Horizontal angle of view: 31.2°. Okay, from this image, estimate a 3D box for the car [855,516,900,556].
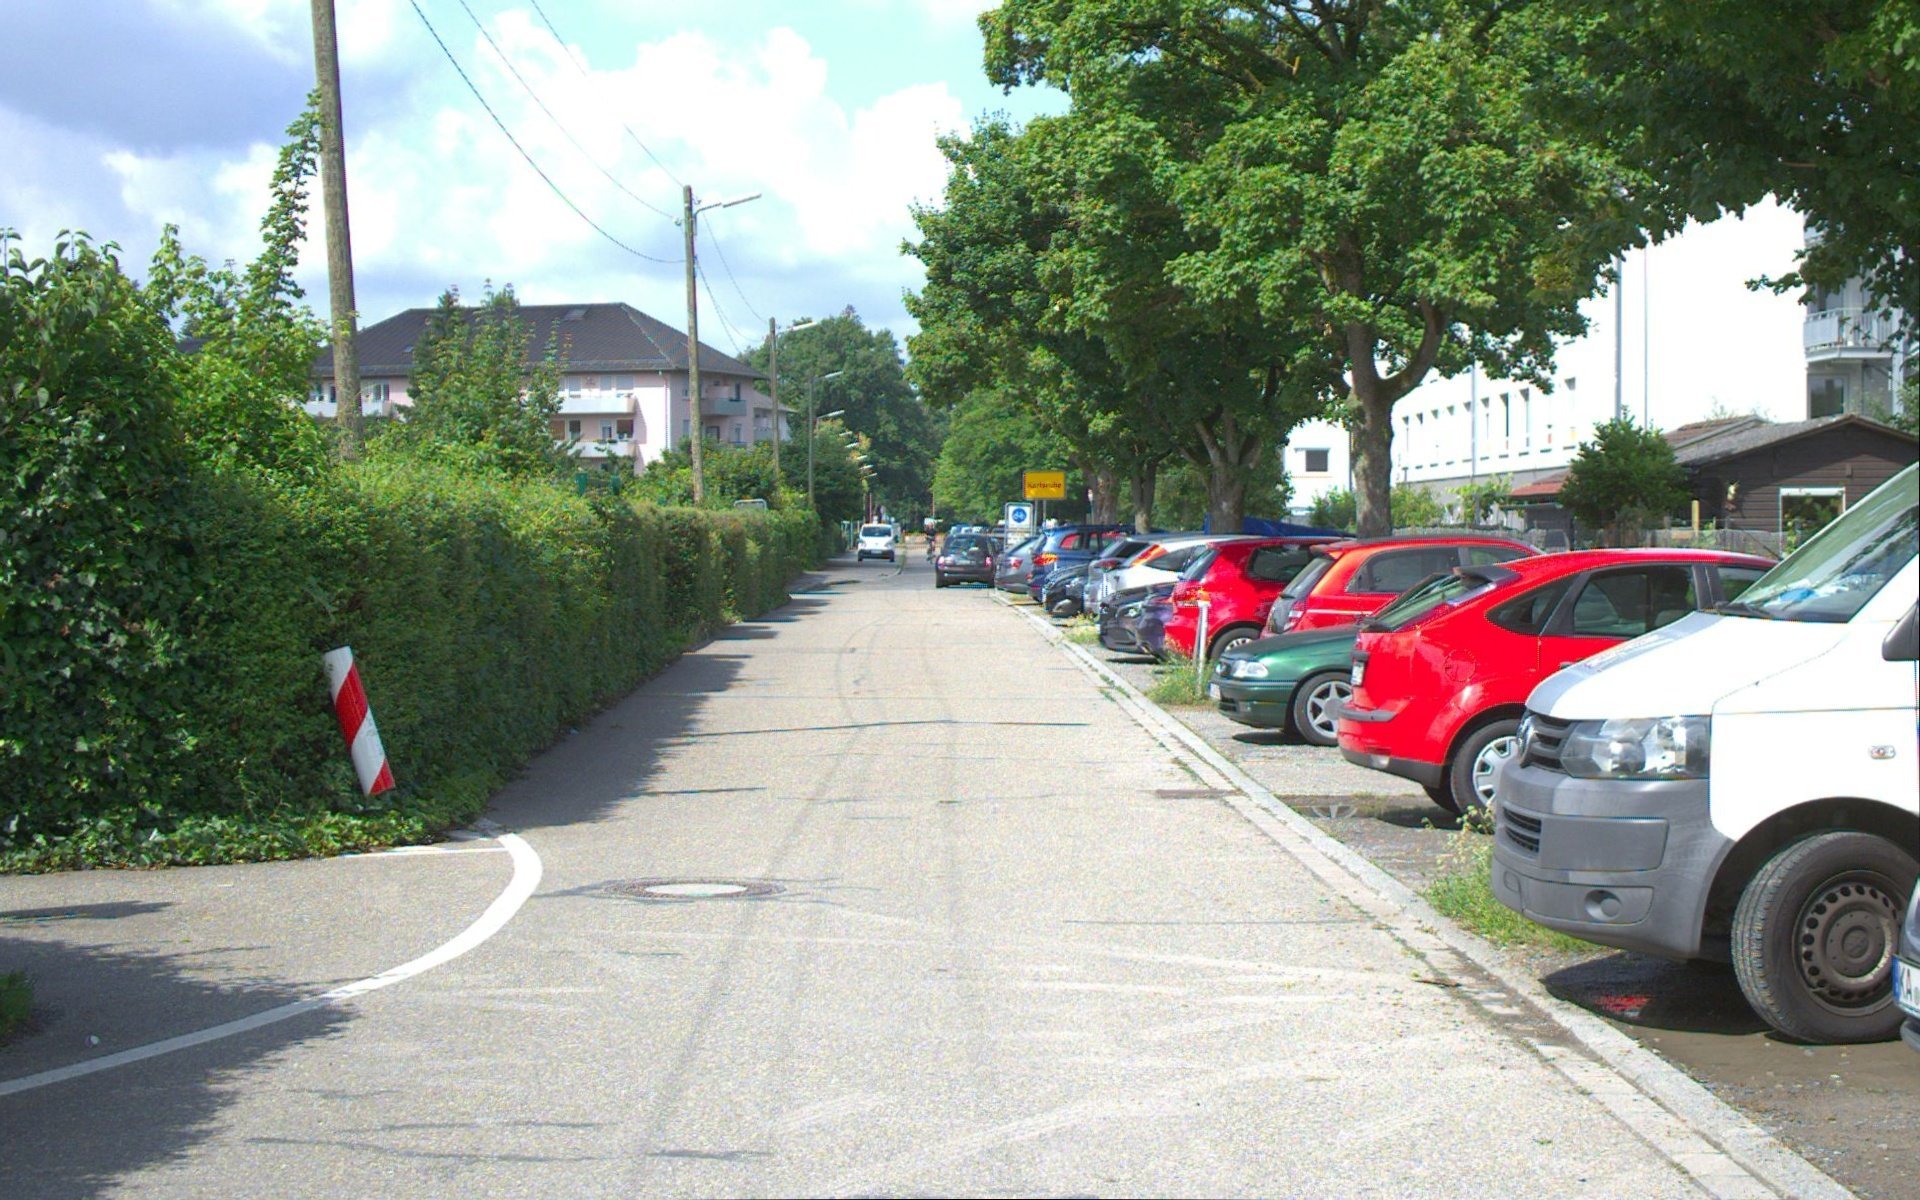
[{"bbox_3d":[-3.930,-3.044,164.008,1.903,1.808,4.000,1,1,2],"label":"car"}]

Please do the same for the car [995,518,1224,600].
[{"bbox_3d":[3.036,-0.848,70.659,4.548,1.573,1.809,1,1,-2],"label":"car"}]

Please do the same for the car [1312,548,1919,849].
[{"bbox_3d":[4.127,0.512,18.819,4.183,1.499,1.878,1,1,1],"label":"car"}]

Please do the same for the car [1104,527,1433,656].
[{"bbox_3d":[3.884,-0.120,43.849,4.065,1.506,1.958,1,1,2],"label":"car"}]

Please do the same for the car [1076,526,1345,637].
[{"bbox_3d":[3.674,-0.288,50.929,3.723,1.534,1.850,1,1,-4],"label":"car"}]

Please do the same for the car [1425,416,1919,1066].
[{"bbox_3d":[4.010,0.353,11.164,4.634,1.880,2.112,-1,1,-2],"label":"car"}]

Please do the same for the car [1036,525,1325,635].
[{"bbox_3d":[3.385,-0.324,53.511,4.302,1.588,2.000,1,1,-1],"label":"car"}]

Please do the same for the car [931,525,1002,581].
[{"bbox_3d":[0.201,-1.306,95.437,1.663,1.501,4.000,1,1,4],"label":"car"}]

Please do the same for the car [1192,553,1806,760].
[{"bbox_3d":[4.014,0.405,26.041,4.238,1.423,1.909,1,1,-4],"label":"car"}]

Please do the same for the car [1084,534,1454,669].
[{"bbox_3d":[3.573,0.002,40.243,4.065,1.450,1.870,1,1,-3],"label":"car"}]

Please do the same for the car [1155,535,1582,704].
[{"bbox_3d":[3.924,0.169,33.564,3.987,1.514,1.854,1,1,3],"label":"car"}]

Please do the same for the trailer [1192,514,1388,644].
[{"bbox_3d":[4.592,-0.305,48.045,2.449,1.714,1.518,1,2,-4],"label":"trailer"}]

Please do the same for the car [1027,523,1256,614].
[{"bbox_3d":[3.359,-0.597,64.156,4.154,1.632,1.879,-1,1,0],"label":"car"}]

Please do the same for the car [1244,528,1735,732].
[{"bbox_3d":[4.366,0.233,28.765,3.764,1.568,1.870,1,1,-1],"label":"car"}]

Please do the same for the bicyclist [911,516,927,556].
[{"bbox_3d":[-1.898,-2.984,160.939,0.659,1.846,1.043,-1,1,2],"label":"bicyclist"}]

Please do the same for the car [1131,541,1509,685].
[{"bbox_3d":[3.821,0.122,37.078,3.910,1.419,1.958,1,1,2],"label":"car"}]

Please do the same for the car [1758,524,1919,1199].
[{"bbox_3d":[4.321,0.580,8.424,4.243,1.587,2.000,-1,1,0],"label":"car"}]
